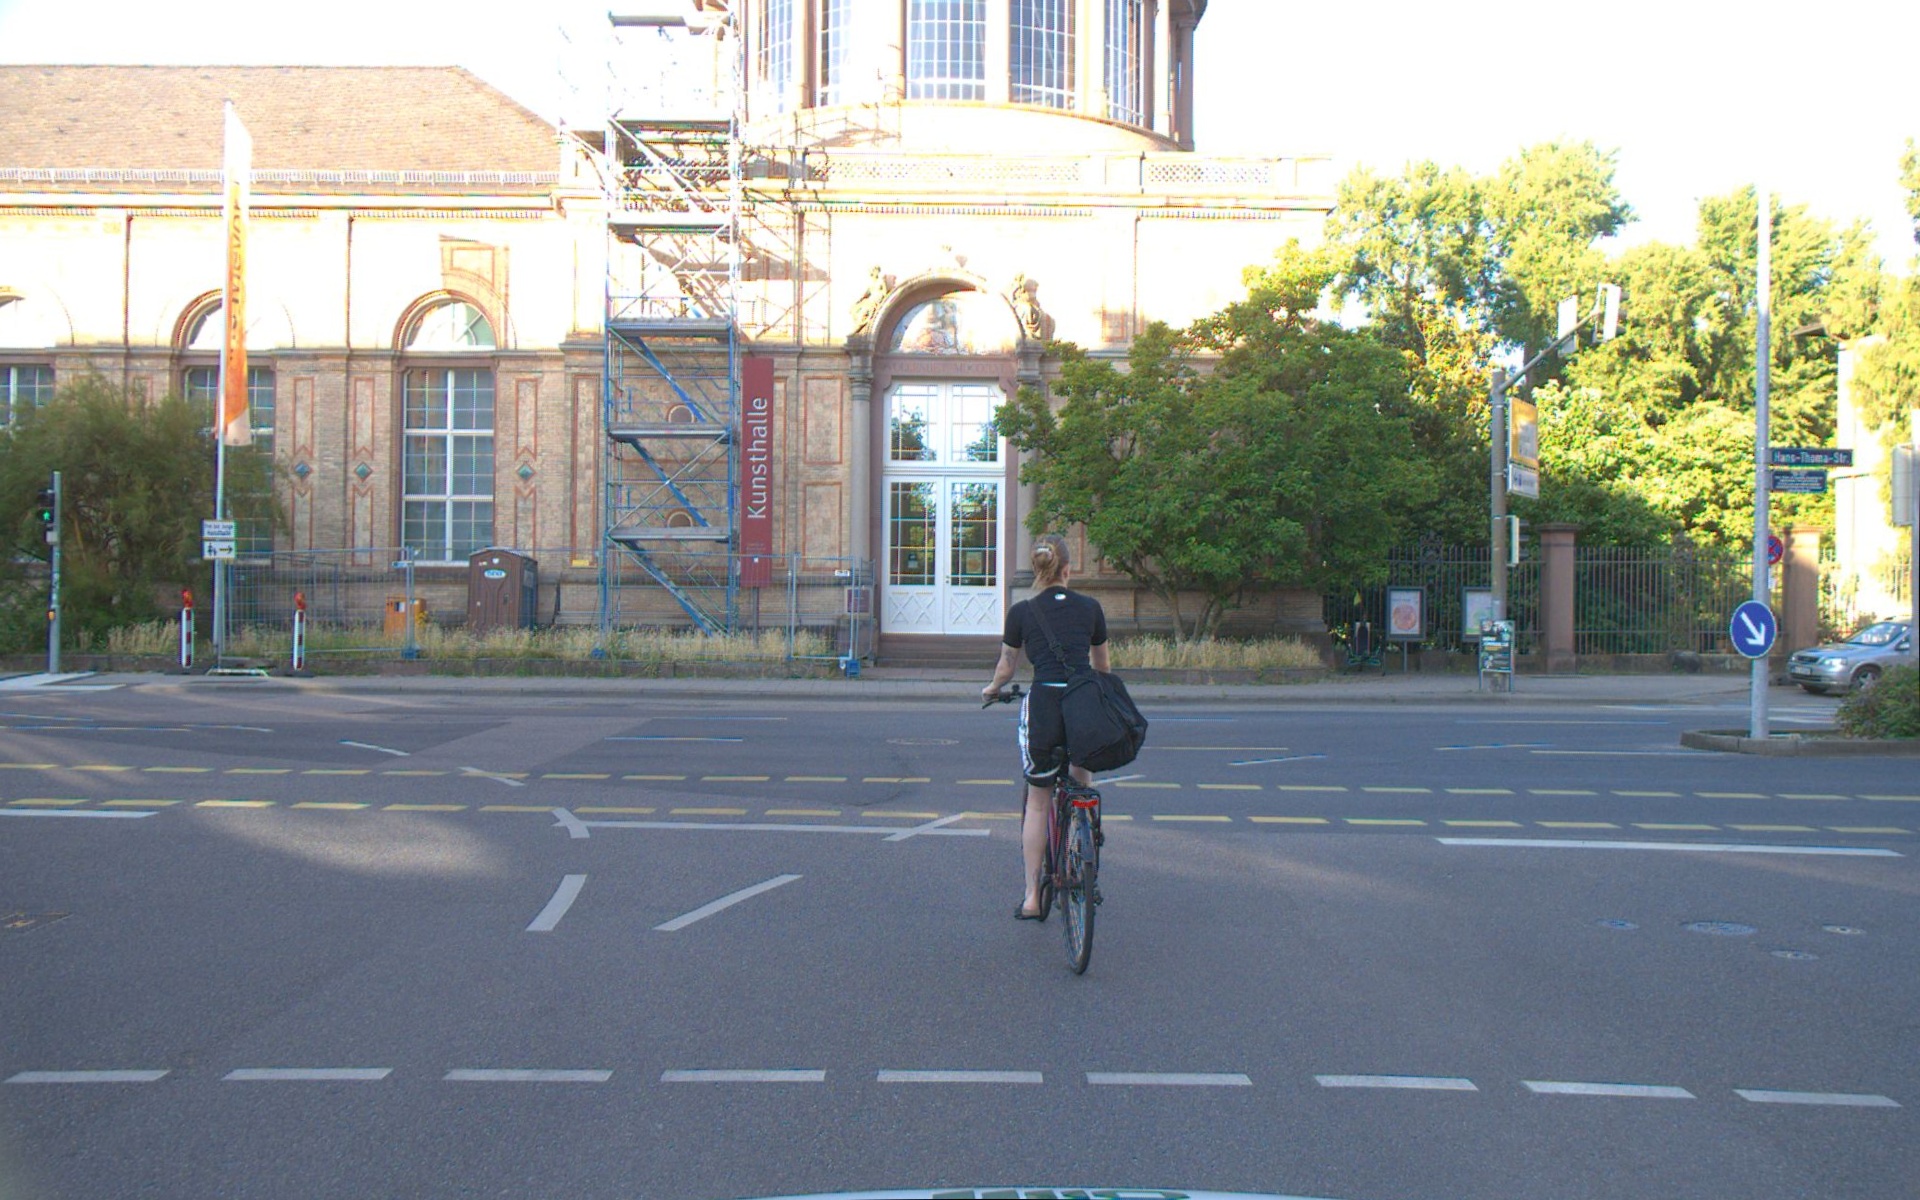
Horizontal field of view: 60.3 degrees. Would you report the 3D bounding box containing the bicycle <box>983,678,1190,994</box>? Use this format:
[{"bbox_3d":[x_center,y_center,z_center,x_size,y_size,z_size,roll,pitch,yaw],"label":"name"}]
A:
[{"bbox_3d":[0.506,0.959,7.415,0.697,1.176,2.067,0,-2,-2],"label":"bicycle"}]

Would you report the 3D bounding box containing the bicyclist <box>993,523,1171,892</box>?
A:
[{"bbox_3d":[0.517,0.459,7.306,0.701,1.529,0.850,0,-2,-1],"label":"bicyclist"}]

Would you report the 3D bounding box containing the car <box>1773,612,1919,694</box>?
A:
[{"bbox_3d":[17.669,0.976,30.989,4.104,1.470,1.713,0,0,-6],"label":"car"}]
